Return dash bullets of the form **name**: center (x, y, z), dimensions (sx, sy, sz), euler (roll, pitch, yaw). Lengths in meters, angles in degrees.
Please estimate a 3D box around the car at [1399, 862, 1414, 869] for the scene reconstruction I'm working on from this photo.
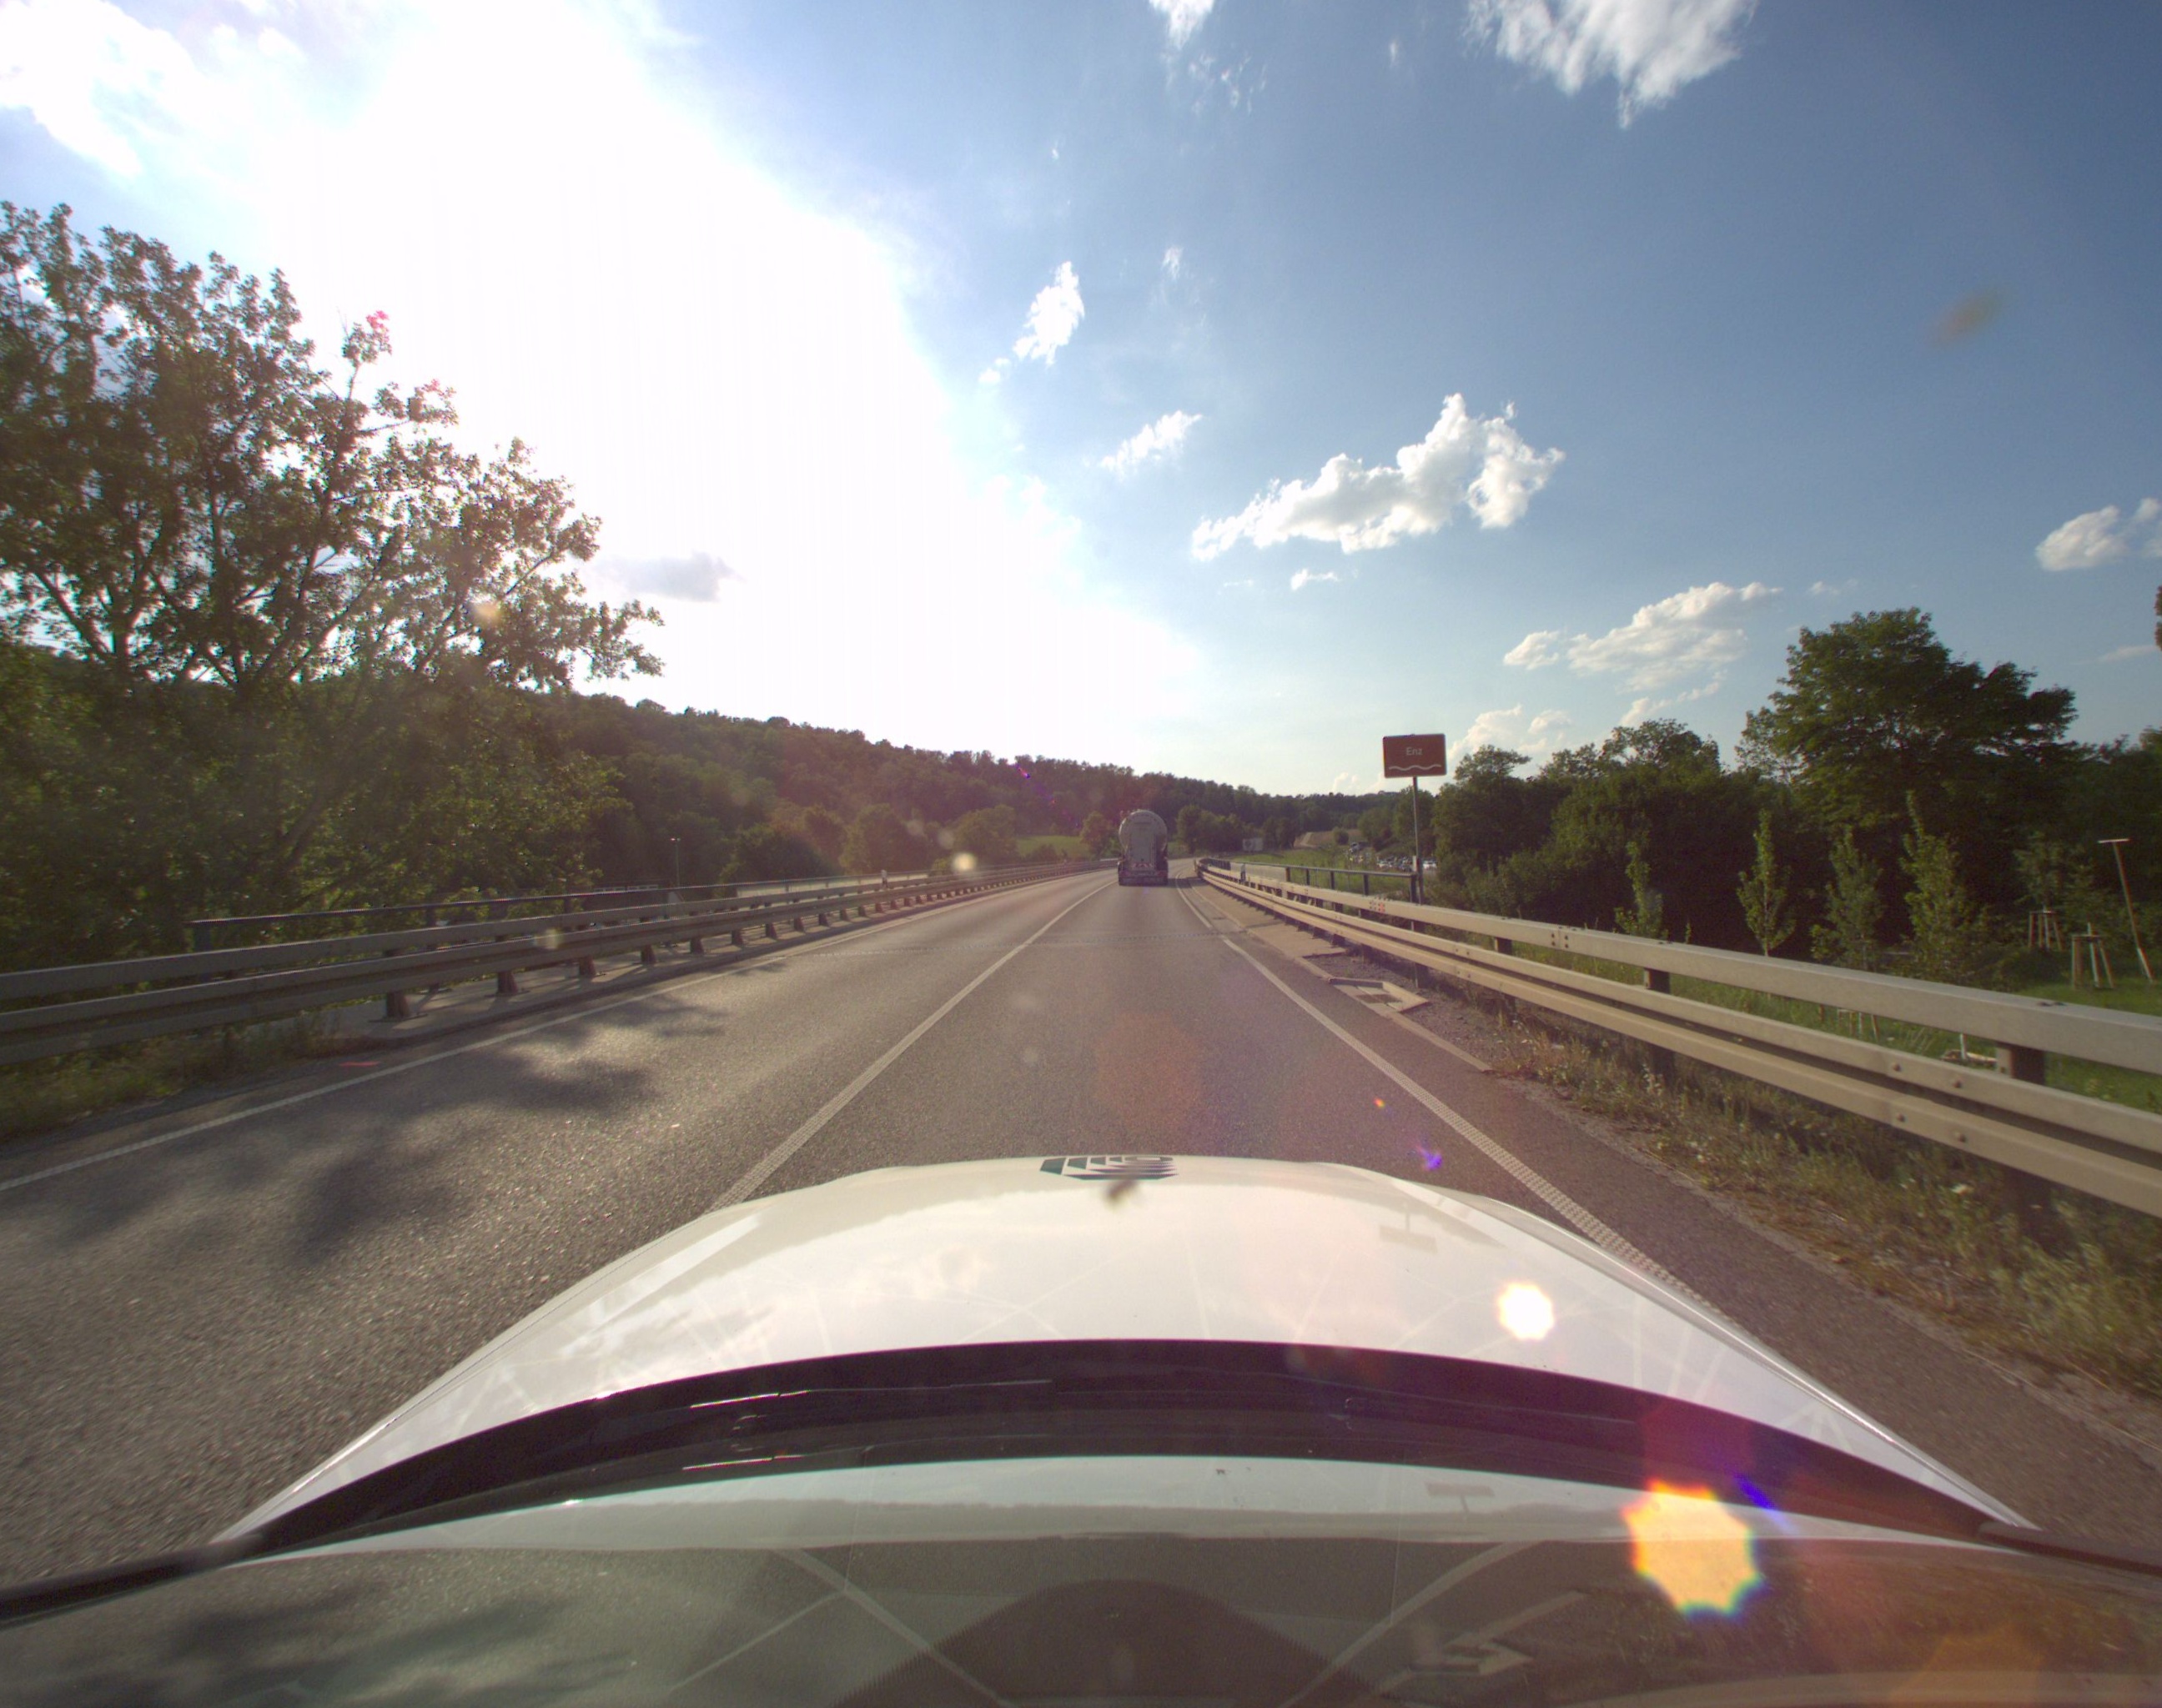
- **car**: center (66.990, 2.360, 167.683), dimensions (1.646, 1.496, 4.230), euler (-2, 0, 6)

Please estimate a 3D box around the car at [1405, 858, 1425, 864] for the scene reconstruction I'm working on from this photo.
- **car**: center (80.907, 1.722, 197.038), dimensions (4.217, 1.456, 1.618), euler (-1, 1, 1)

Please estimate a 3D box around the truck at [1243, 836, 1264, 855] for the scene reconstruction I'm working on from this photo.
- **truck**: center (42.241, -2.054, 199.415), dimensions (3.157, 4.227, 13.238), euler (-2, 1, 19)

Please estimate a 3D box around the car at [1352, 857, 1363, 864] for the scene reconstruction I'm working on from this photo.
- **car**: center (74.002, 1.651, 217.918), dimensions (1.881, 1.482, 4.794), euler (-5, 1, 8)

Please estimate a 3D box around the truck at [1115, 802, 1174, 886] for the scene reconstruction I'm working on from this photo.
- **truck**: center (3.554, -0.511, 47.095), dimensions (2.880, 4.142, 13.184), euler (-1, 0, 4)

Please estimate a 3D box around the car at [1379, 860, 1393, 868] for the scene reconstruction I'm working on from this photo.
- **car**: center (69.592, 2.345, 186.085), dimensions (1.809, 1.482, 4.262), euler (-3, 1, 4)

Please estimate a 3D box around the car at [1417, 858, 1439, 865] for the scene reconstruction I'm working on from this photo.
- **car**: center (81.555, 1.820, 191.256), dimensions (4.390, 1.456, 1.734), euler (-2, 1, -2)
